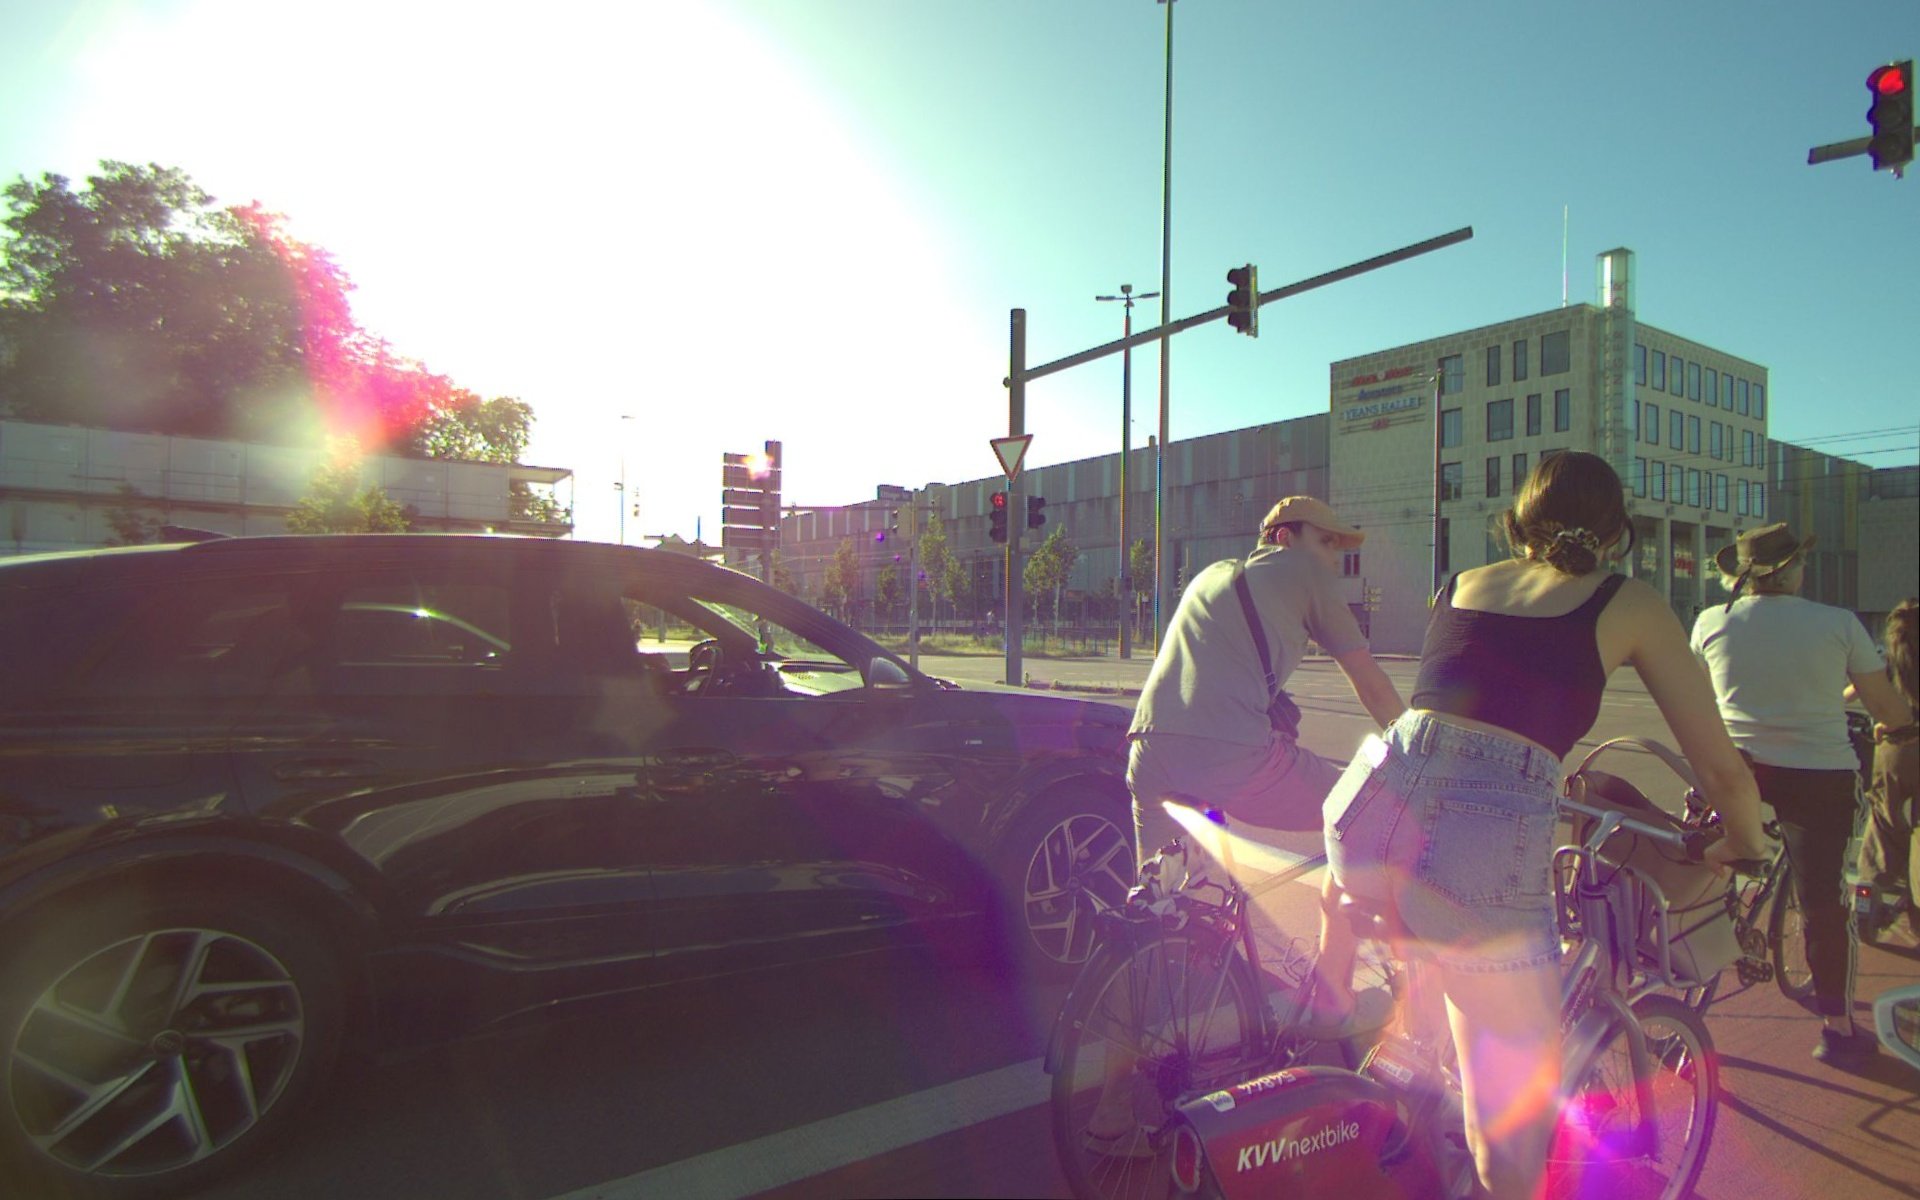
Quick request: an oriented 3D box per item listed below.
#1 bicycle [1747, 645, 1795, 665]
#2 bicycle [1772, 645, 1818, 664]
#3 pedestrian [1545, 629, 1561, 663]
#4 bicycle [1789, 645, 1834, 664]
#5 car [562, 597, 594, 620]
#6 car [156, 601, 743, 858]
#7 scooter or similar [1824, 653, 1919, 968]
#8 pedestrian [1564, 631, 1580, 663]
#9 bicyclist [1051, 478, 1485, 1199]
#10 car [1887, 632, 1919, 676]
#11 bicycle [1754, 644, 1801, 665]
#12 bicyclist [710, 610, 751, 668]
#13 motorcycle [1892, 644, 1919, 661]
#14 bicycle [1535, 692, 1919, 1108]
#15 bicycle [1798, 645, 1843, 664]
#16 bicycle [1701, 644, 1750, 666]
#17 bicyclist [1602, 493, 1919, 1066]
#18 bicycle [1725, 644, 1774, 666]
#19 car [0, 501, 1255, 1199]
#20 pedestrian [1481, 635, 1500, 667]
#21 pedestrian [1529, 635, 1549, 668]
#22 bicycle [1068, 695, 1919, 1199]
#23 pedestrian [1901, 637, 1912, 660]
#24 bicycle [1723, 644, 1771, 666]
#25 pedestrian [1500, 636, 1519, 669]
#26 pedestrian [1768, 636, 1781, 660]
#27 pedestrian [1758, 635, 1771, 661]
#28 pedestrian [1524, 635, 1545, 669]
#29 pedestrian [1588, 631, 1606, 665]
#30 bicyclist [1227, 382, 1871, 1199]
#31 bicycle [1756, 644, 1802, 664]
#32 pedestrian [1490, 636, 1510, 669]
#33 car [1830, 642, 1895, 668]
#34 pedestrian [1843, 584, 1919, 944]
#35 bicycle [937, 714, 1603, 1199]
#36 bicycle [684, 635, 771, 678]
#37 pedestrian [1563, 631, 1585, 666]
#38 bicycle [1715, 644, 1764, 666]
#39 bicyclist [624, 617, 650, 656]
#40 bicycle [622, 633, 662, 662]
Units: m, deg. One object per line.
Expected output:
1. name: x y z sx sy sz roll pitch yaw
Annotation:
1. bicycle: 51.275 3.470 63.556 0.605 1.238 2.295 1 -1 -31
2. bicycle: 55.517 3.615 66.835 0.605 1.238 2.295 1 -1 -31
3. pedestrian: 34.185 2.666 57.935 0.705 1.910 0.785 2 0 33
4. bicycle: 58.850 3.729 69.434 0.605 1.238 2.295 1 -1 -31
5. car: -32.939 0.727 86.514 1.785 1.908 3.964 2 0 -33
6. car: -3.585 0.789 7.499 3.562 1.505 1.485 1 0 -30
7. scooter or similar: 4.493 0.925 4.717 1.186 1.311 0.541 2 0 -45
8. pedestrian: 35.670 2.730 58.495 0.784 1.868 0.862 0 -1 32
9. bicyclist: 0.804 0.559 2.677 0.833 1.627 0.712 1 0 -32
10. car: 37.529 2.098 37.645 1.643 1.606 3.871 2 0 -36
11. bicycle: 52.900 3.527 65.023 0.605 1.238 2.295 1 -1 -31
12. bicyclist: -8.263 1.398 36.188 1.078 2.040 0.961 2 0 15
13. motorcycle: 70.737 3.901 74.861 0.508 1.223 1.786 1 0 -44
14. bicycle: 2.880 0.961 3.682 1.810 1.171 0.482 2 0 -31
15. bicycle: 59.821 3.761 69.858 0.605 1.238 2.295 1 -1 -31
16. bicycle: 45.761 3.286 60.088 0.605 1.238 2.295 1 -1 -31
17. bicyclist: 2.870 0.556 3.556 0.856 1.743 0.657 2 0 -30
18. bicycle: 48.695 3.384 61.964 0.605 1.238 2.295 1 -1 -31
19. car: -1.153 0.632 3.873 4.630 1.656 1.760 1 0 -32
20. pedestrian: 32.458 3.111 61.451 0.710 1.910 0.779 2 0 -36
21. pedestrian: 34.405 3.042 59.693 0.710 1.910 0.779 2 0 -36
22. bicycle: 1.094 0.848 1.821 1.811 1.234 0.612 1 0 -33
23. pedestrian: 71.095 3.665 75.461 0.579 1.702 0.516 1 1 -43
24. bicycle: 48.045 3.361 61.343 0.605 1.238 2.295 1 -1 -31
25. pedestrian: 33.222 3.163 60.694 0.780 1.910 0.709 2 0 -37
26. pedestrian: 58.074 3.411 71.639 0.610 1.702 0.565 1 0 -39
27. pedestrian: 55.039 3.301 68.700 0.639 1.742 0.449 0 -1 37
28. pedestrian: 33.395 3.005 58.381 0.710 1.910 0.779 2 0 -36
29. pedestrian: 35.871 2.691 56.588 0.784 1.868 0.863 0 -1 28
30. bicyclist: 1.025 0.530 1.776 0.866 1.600 0.638 1 0 -33
31. bicycle: 54.279 3.576 66.572 0.605 1.238 2.295 1 -1 -31
32. pedestrian: 32.160 3.127 59.872 0.710 1.910 0.779 2 0 -36
33. car: 49.782 3.059 55.414 3.956 1.359 1.621 2 -4 -32
34. pedestrian: 4.634 0.761 4.809 0.568 1.654 0.543 2 0 -45
35. bicycle: 0.941 0.953 2.773 1.949 1.124 0.643 1 0 -33
36. bicycle: -8.385 2.030 36.236 2.905 1.388 0.970 2 0 16
37. pedestrian: 36.227 2.856 59.292 0.767 2.040 0.876 2 0 -41
38. bicycle: 46.962 3.324 60.532 0.605 1.238 2.295 1 -1 -31
39. bicyclist: -17.452 1.977 54.311 0.985 2.040 1.088 2 0 -40
40. bicycle: -17.056 2.514 53.842 0.962 1.388 2.930 2 0 -40
